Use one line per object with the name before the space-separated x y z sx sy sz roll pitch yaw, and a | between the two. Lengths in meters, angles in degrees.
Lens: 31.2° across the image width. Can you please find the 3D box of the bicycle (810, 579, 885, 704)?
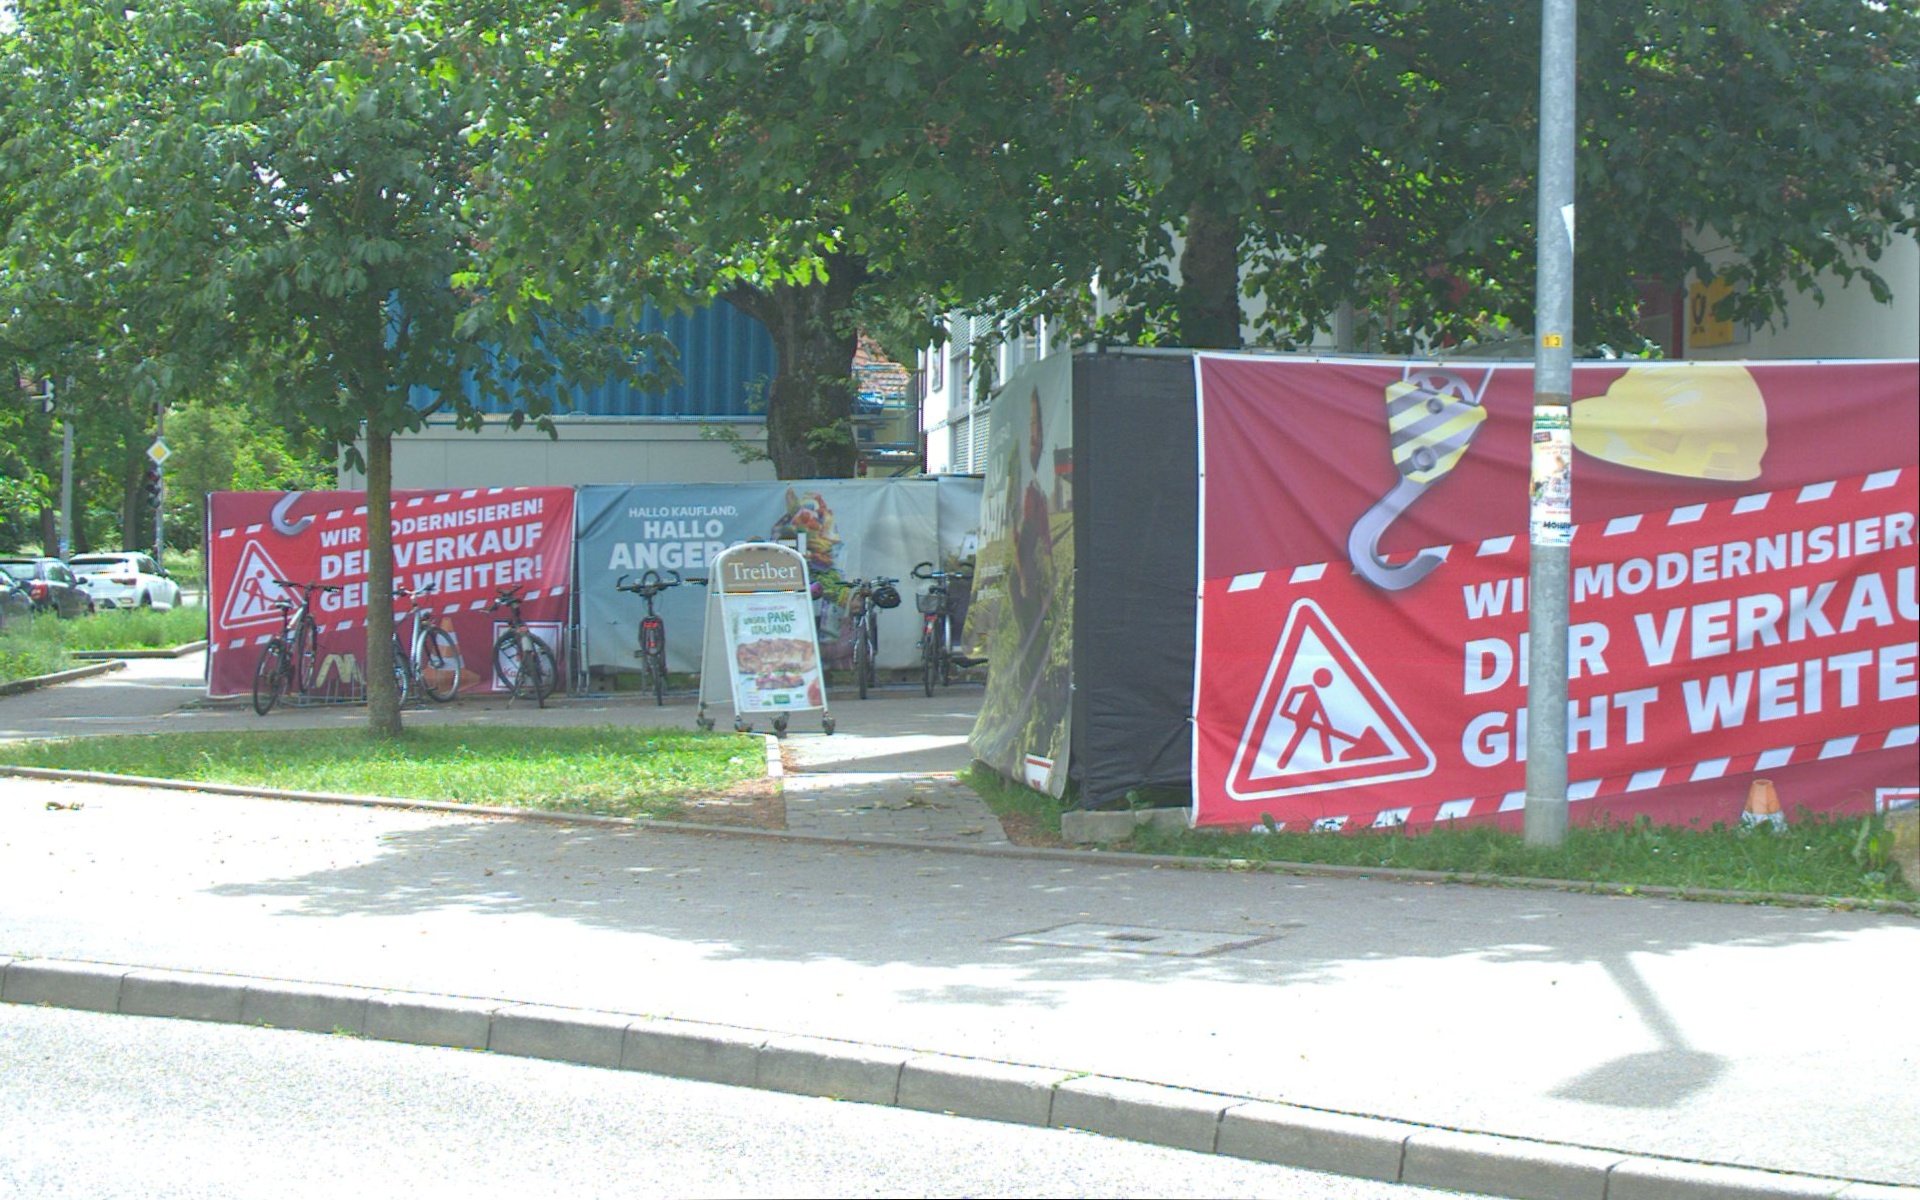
bicycle | -1.017 0.362 31.488 0.630 1.046 1.969 2 2 -1

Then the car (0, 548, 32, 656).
car | -16.866 0.045 57.188 1.897 1.738 3.926 1 2 -2

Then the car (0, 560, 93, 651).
car | -17.298 0.073 62.757 2.062 1.471 3.926 1 2 -2

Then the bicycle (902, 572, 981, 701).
bicycle | -0.160 0.312 31.175 0.630 1.060 1.969 2 2 1

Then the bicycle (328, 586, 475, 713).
bicycle | -5.035 0.429 31.107 0.630 1.046 2.070 3 2 10

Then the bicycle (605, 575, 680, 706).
bicycle | -2.892 0.348 31.417 0.529 1.090 2.072 2 2 -2

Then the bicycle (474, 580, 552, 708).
bicycle | -4.040 0.380 31.168 0.629 1.046 2.072 2 2 -7

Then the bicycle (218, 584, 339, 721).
bicycle | -6.161 0.455 31.158 0.630 1.123 1.969 2 2 1

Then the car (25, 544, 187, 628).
car | -16.841 -0.302 67.986 2.063 1.495 3.925 1 2 3
